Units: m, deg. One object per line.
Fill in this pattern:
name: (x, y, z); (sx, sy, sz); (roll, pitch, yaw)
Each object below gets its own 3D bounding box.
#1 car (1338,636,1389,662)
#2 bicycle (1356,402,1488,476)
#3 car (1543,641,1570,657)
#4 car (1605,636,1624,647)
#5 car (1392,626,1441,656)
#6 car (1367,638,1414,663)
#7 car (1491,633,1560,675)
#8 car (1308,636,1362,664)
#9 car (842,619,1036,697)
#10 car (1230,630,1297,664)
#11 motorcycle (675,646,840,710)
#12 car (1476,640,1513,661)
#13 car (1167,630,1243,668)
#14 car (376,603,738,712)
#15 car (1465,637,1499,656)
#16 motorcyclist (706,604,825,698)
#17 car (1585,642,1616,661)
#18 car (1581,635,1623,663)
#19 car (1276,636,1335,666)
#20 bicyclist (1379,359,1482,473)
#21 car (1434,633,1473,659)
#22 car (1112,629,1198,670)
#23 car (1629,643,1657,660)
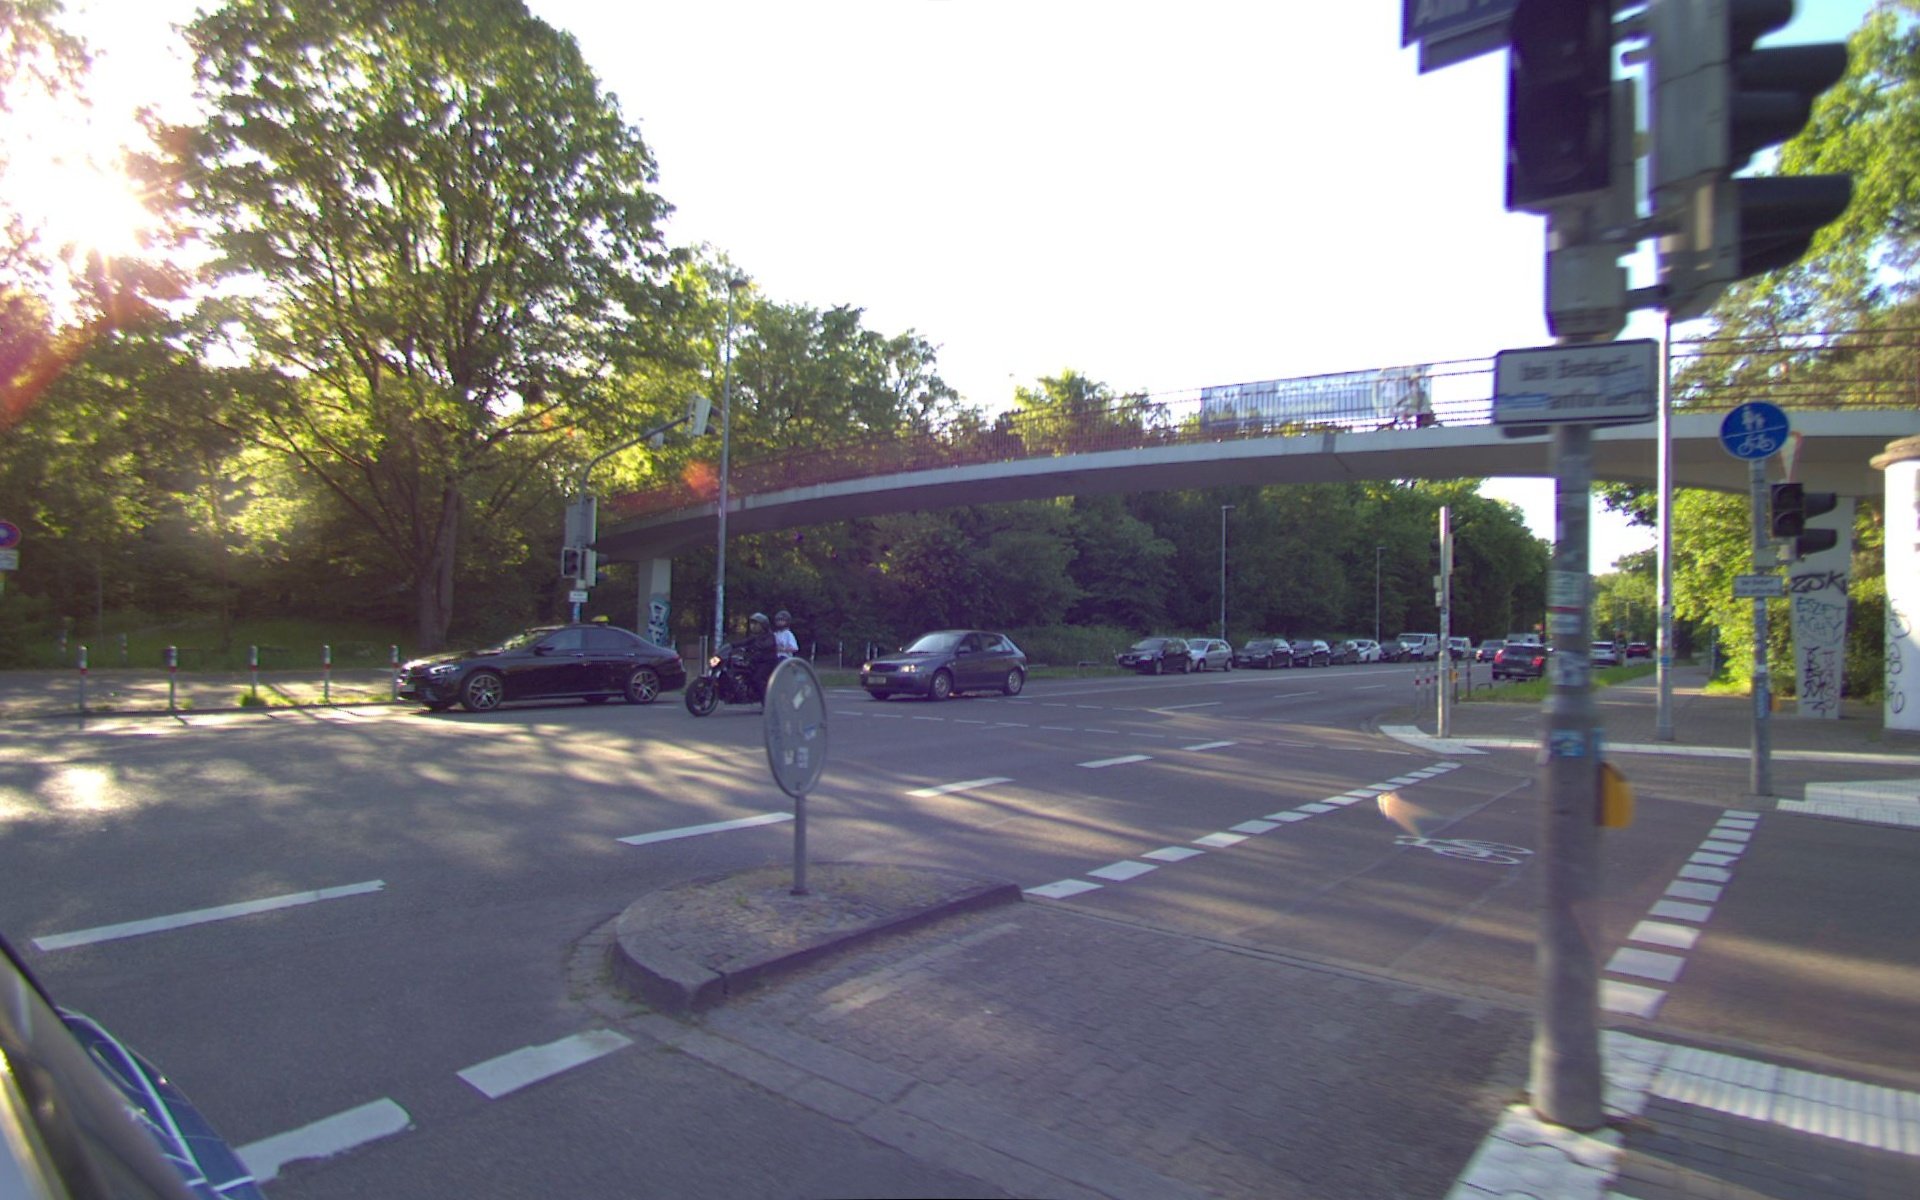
car: (24.759, 2.980, 61.988); (1.736, 1.519, 4.339); (1, -2, 38)
bicycle: (10.346, -3.571, 22.712); (2.448, 1.383, 1.037); (4, 1, 41)
car: (63.471, 5.223, 107.697); (1.893, 1.581, 4.339); (1, -2, 38)
car: (94.577, 6.020, 146.250); (1.893, 1.511, 4.339); (1, -2, 38)
car: (32.245, 2.922, 71.477); (2.016, 1.991, 4.976); (1, -2, 38)
car: (28.189, 3.268, 66.244); (1.736, 1.519, 4.339); (1, -2, 38)
car: (21.940, 2.067, 39.194); (1.711, 1.464, 3.592); (3, 0, 39)
car: (21.595, 2.864, 58.231); (1.736, 1.519, 4.171); (1, -2, 38)
car: (-0.327, 1.132, 20.580); (1.867, 1.400, 3.948); (0, -2, 38)
car: (14.837, 2.291, 49.407); (1.736, 1.519, 4.099); (1, -2, 38)
motorcycle: (-3.213, 1.218, 16.372); (0.808, 0.920, 2.675); (0, -2, 41)
car: (34.584, 3.263, 65.466); (1.464, 1.254, 3.948); (0, -2, 38)
car: (10.680, 2.123, 43.953); (1.720, 1.519, 3.924); (1, -2, 38)
car: (-6.944, 0.950, 18.170); (1.998, 1.647, 5.809); (0, -2, 39)
car: (46.278, 4.140, 89.693); (1.893, 1.558, 4.339); (1, -2, 38)
motorcyclist: (-3.156, 0.793, 16.471); (1.139, 1.438, 1.545); (0, 0, 42)
car: (52.321, 4.180, 82.671); (1.754, 1.467, 3.592); (2, -1, 39)
car: (37.666, 2.864, 59.337); (1.681, 1.535, 3.850); (2, -1, 39)
car: (18.357, 2.688, 53.669); (1.703, 1.519, 4.083); (1, -2, 38)
bicyclist: (10.524, -4.058, 22.648); (1.683, 2.185, 1.393); (3, 1, 41)
car: (39.669, 3.665, 81.353); (1.951, 1.991, 4.339); (1, -2, 38)
car: (7.785, 1.935, 40.229); (1.693, 1.519, 4.073); (0, -2, 38)
car: (67.567, 5.069, 100.076); (1.965, 1.517, 4.587); (-1, -2, 38)
